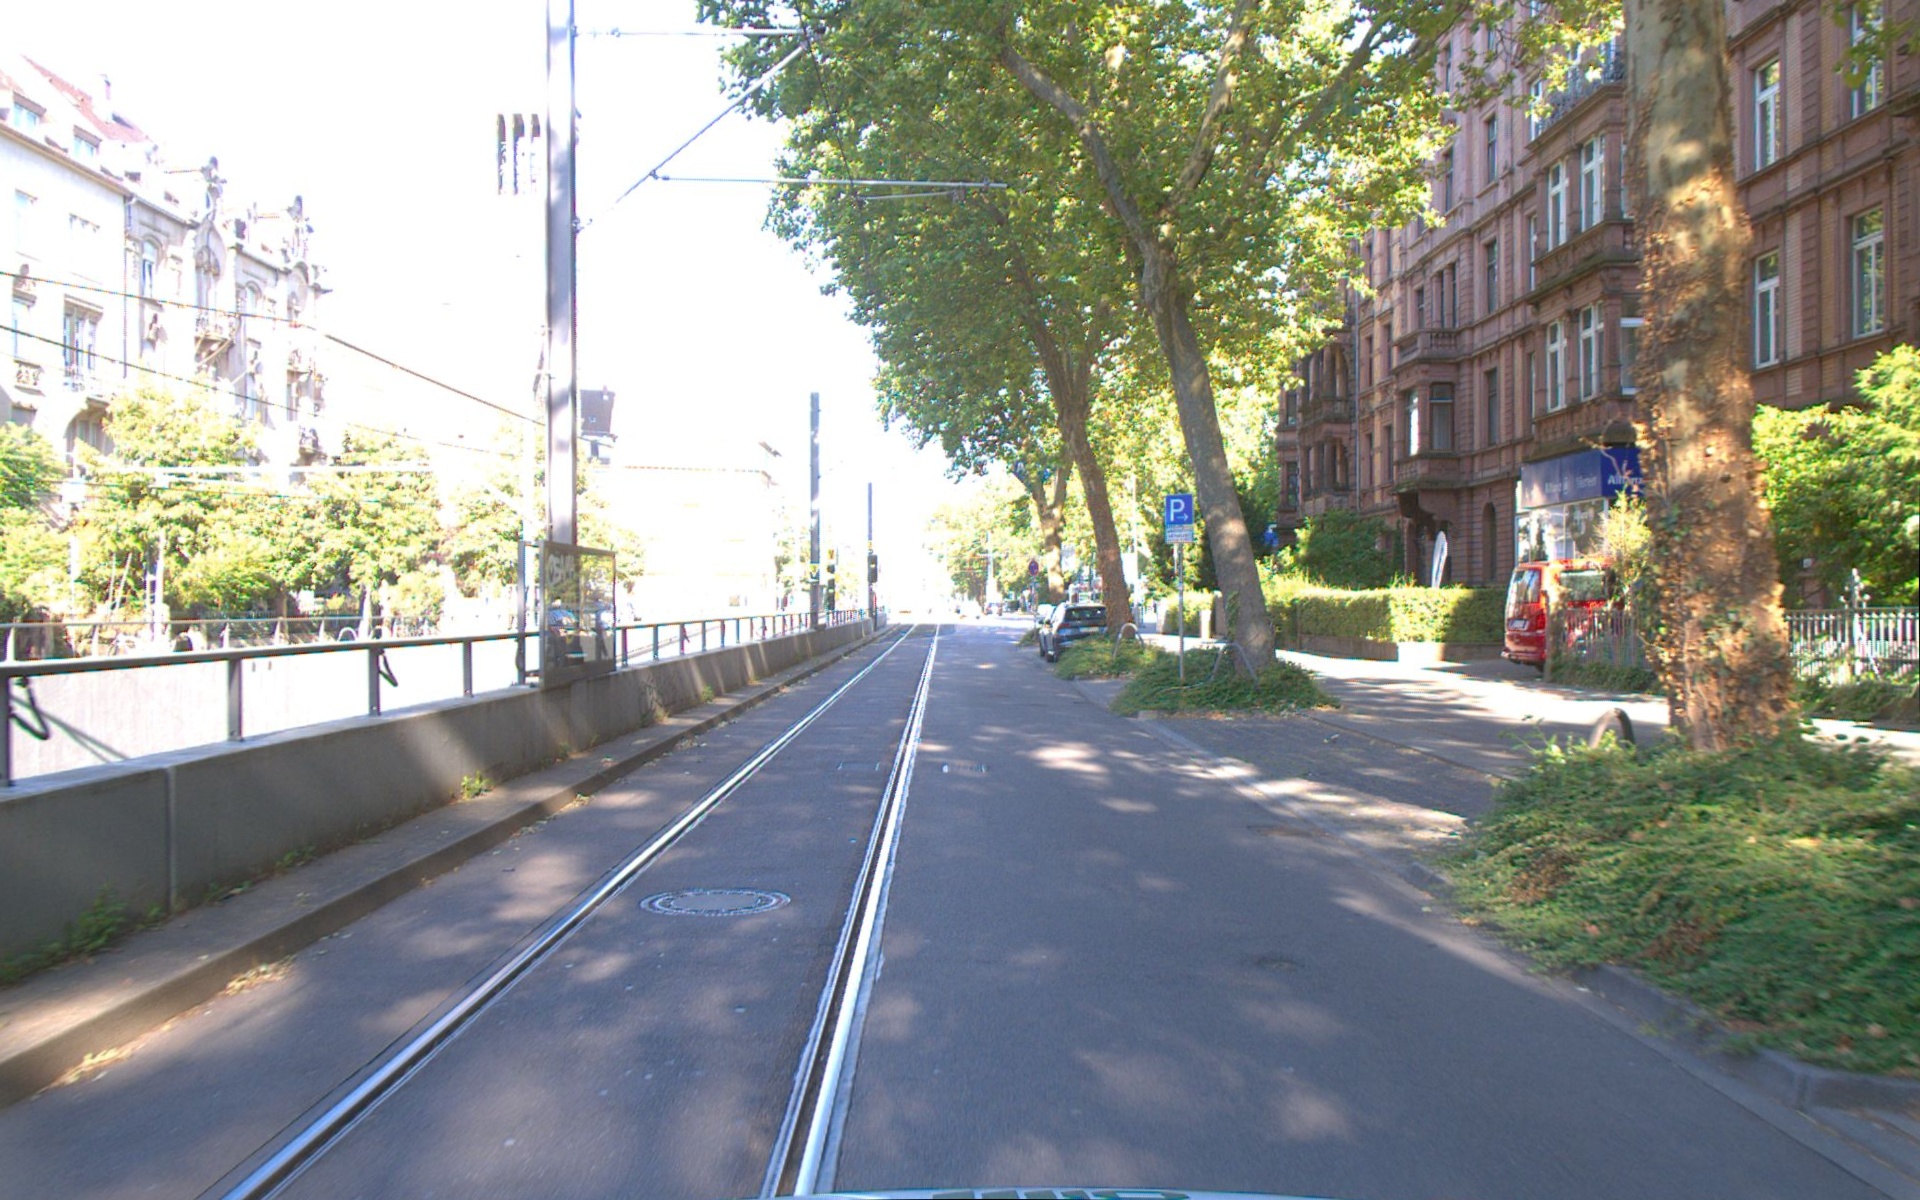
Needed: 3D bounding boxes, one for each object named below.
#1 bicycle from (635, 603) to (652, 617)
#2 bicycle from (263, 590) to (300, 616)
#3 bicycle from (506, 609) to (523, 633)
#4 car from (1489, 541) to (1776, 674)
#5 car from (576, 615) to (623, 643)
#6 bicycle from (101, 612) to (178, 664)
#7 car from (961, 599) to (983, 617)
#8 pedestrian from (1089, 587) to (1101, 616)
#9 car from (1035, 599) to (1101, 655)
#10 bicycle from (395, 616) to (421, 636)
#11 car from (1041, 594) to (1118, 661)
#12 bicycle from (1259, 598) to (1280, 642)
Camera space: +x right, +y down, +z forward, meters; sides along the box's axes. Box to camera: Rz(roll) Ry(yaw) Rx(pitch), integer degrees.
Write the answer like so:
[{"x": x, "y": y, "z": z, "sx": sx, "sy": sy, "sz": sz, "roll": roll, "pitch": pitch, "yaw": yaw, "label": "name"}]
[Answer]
[{"x": -32.131, "y": 0.995, "z": 167.907, "sx": 0.813, "sy": 1.305, "sz": 2.538, "roll": 2, "pitch": 0, "yaw": -31, "label": "bicycle"}, {"x": -27.827, "y": 0.112, "z": 67.890, "sx": 0.494, "sy": 1.036, "sz": 2.112, "roll": 2, "pitch": 0, "yaw": 3, "label": "bicycle"}, {"x": -21.315, "y": 1.002, "z": 79.151, "sx": 0.479, "sy": 1.040, "sz": 1.879, "roll": 2, "pitch": 0, "yaw": -24, "label": "bicycle"}, {"x": 11.605, "y": 0.124, "z": 28.724, "sx": 4.092, "sy": 2.049, "sz": 1.999, "roll": -3, "pitch": 0, "yaw": -3, "label": "car"}, {"x": -21.579, "y": 1.723, "z": 99.180, "sx": 1.680, "sy": 1.582, "sz": 4.510, "roll": 2, "pitch": 0, "yaw": 1, "label": "car"}, {"x": -20.944, "y": 0.968, "z": 42.215, "sx": 1.694, "sy": 1.302, "sz": 0.600, "roll": 0, "pitch": 0, "yaw": 5, "label": "bicycle"}, {"x": 0.974, "y": 0.675, "z": 140.961, "sx": 1.710, "sy": 1.487, "sz": 3.643, "roll": 2, "pitch": 0, "yaw": -1, "label": "car"}, {"x": 8.428, "y": 0.106, "z": 103.216, "sx": 0.590, "sy": 1.807, "sz": 0.690, "roll": -3, "pitch": -1, "yaw": 3, "label": "pedestrian"}, {"x": 3.068, "y": 0.750, "z": 47.562, "sx": 1.520, "sy": 1.525, "sz": 4.049, "roll": -1, "pitch": 0, "yaw": -1, "label": "car"}, {"x": -24.463, "y": 1.149, "z": 73.298, "sx": 0.407, "sy": 0.814, "sz": 1.888, "roll": 2, "pitch": 0, "yaw": 2, "label": "bicycle"}, {"x": 3.081, "y": 0.688, "z": 43.304, "sx": 1.583, "sy": 1.615, "sz": 4.416, "roll": -1, "pitch": 0, "yaw": -1, "label": "car"}, {"x": 9.212, "y": 0.584, "z": 49.243, "sx": 0.330, "sy": 1.271, "sz": 1.767, "roll": 2, "pitch": 0, "yaw": 3, "label": "bicycle"}]
